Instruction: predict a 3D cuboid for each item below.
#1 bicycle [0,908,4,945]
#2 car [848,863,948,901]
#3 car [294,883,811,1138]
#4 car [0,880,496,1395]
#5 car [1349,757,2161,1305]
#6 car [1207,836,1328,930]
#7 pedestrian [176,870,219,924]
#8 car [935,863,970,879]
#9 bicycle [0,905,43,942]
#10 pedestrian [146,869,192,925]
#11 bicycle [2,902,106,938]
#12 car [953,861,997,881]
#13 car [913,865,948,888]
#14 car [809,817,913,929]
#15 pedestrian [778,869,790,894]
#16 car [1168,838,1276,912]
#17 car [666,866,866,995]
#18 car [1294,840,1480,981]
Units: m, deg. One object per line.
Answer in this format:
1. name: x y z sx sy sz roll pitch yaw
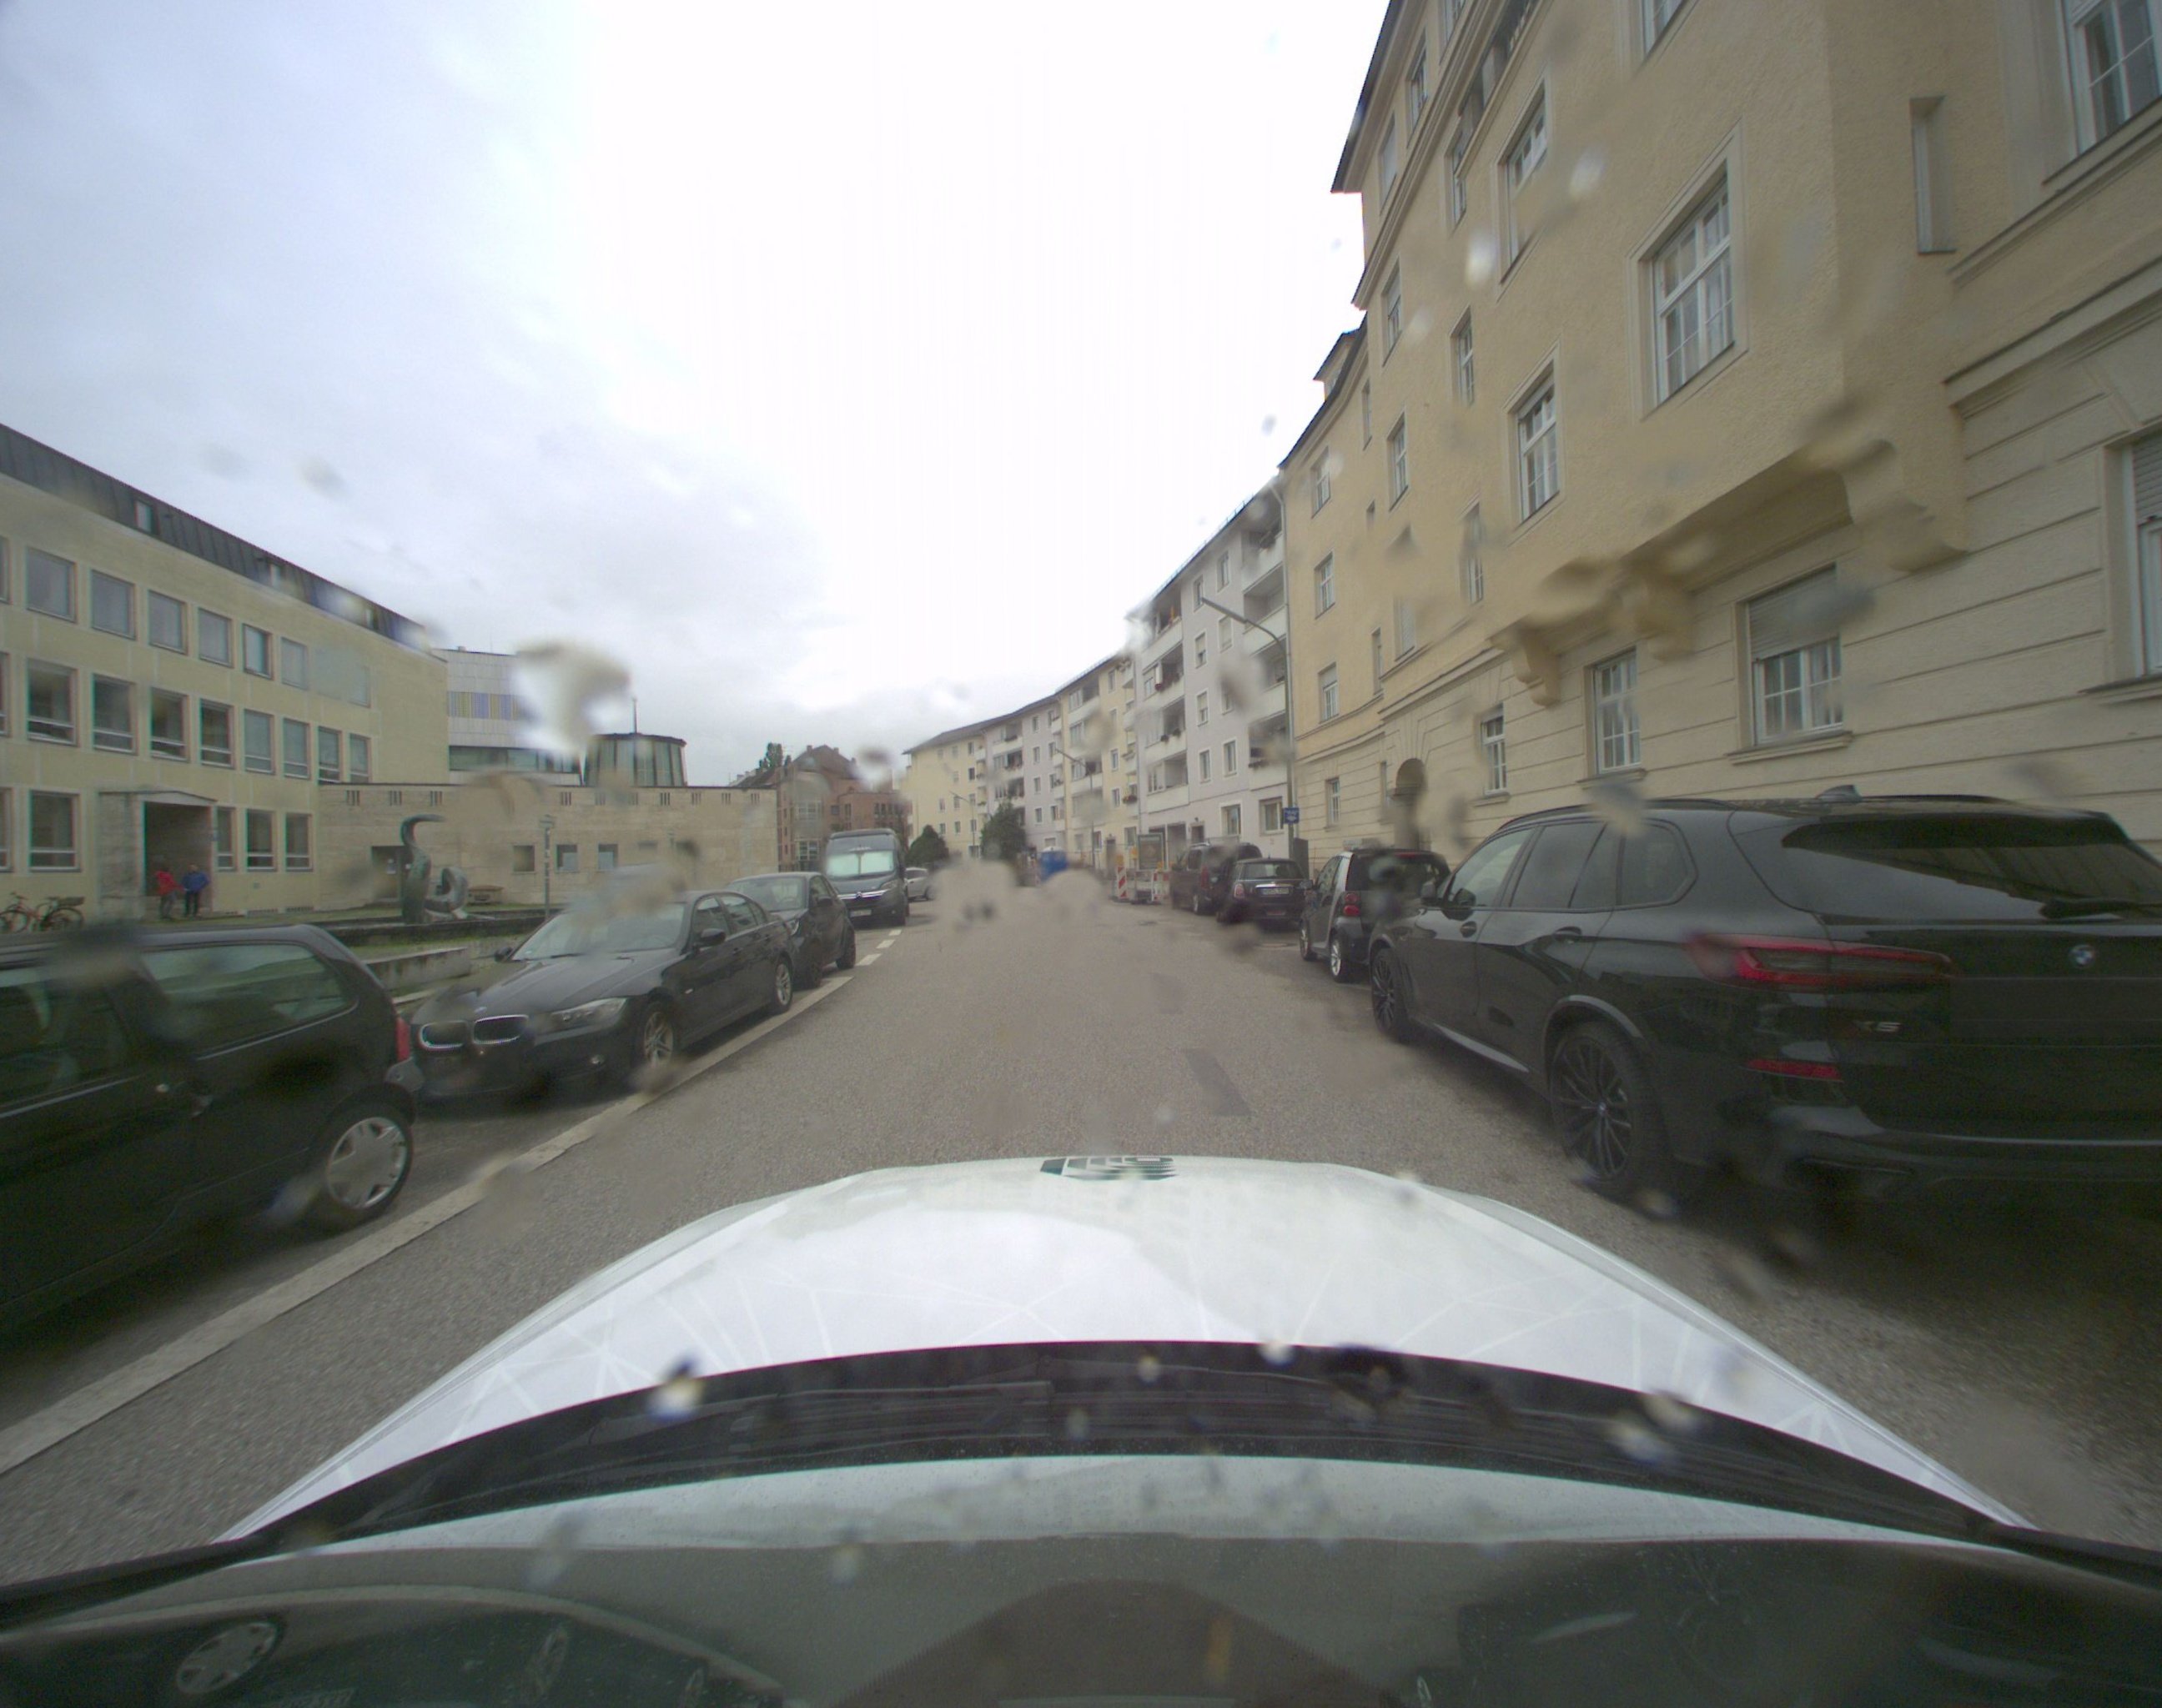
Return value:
1. bicycle: -28.095 1.832 20.138 1.903 0.917 0.436 0 -1 -13
2. car: -7.860 1.155 35.194 1.654 1.530 4.007 -1 -1 43
3. car: -3.995 1.046 7.185 1.716 1.364 4.212 -4 -1 0
4. car: -4.083 0.908 2.540 1.716 1.481 3.753 -4 -1 0
5. car: 3.239 0.530 4.917 1.920 1.730 4.691 0 1 3
6. car: 3.762 0.569 17.014 1.829 1.730 3.732 0 -1 3
7. pedestrian: -29.443 1.421 27.142 0.715 1.744 0.643 0 -1 -16
8. car: -11.461 1.521 72.337 1.670 1.349 3.764 0 -3 -33
9. bicycle: -28.093 1.799 20.911 1.903 0.917 0.436 0 -1 -13
10. pedestrian: -29.211 1.363 26.102 0.715 1.744 0.643 0 -1 -16
11. bicycle: -28.306 1.822 22.460 1.903 0.917 0.436 0 -1 -13
12. car: -8.904 1.411 68.102 2.040 1.678 4.566 0 -1 -32
13. car: -14.114 2.050 76.259 1.759 2.082 4.470 0 -1 -31
14. car: -5.930 0.494 22.689 2.145 2.574 6.188 -3 0 -11
15. pedestrian: -21.161 1.937 58.003 0.797 1.740 0.815 0 -1 -21
16. car: 3.673 0.545 22.041 1.834 1.799 4.230 0 -1 -6
17. car: -4.263 0.963 11.488 1.662 1.460 2.866 -5 -1 -2
18. car: 3.757 0.650 10.456 1.500 1.557 2.866 0 -1 5
